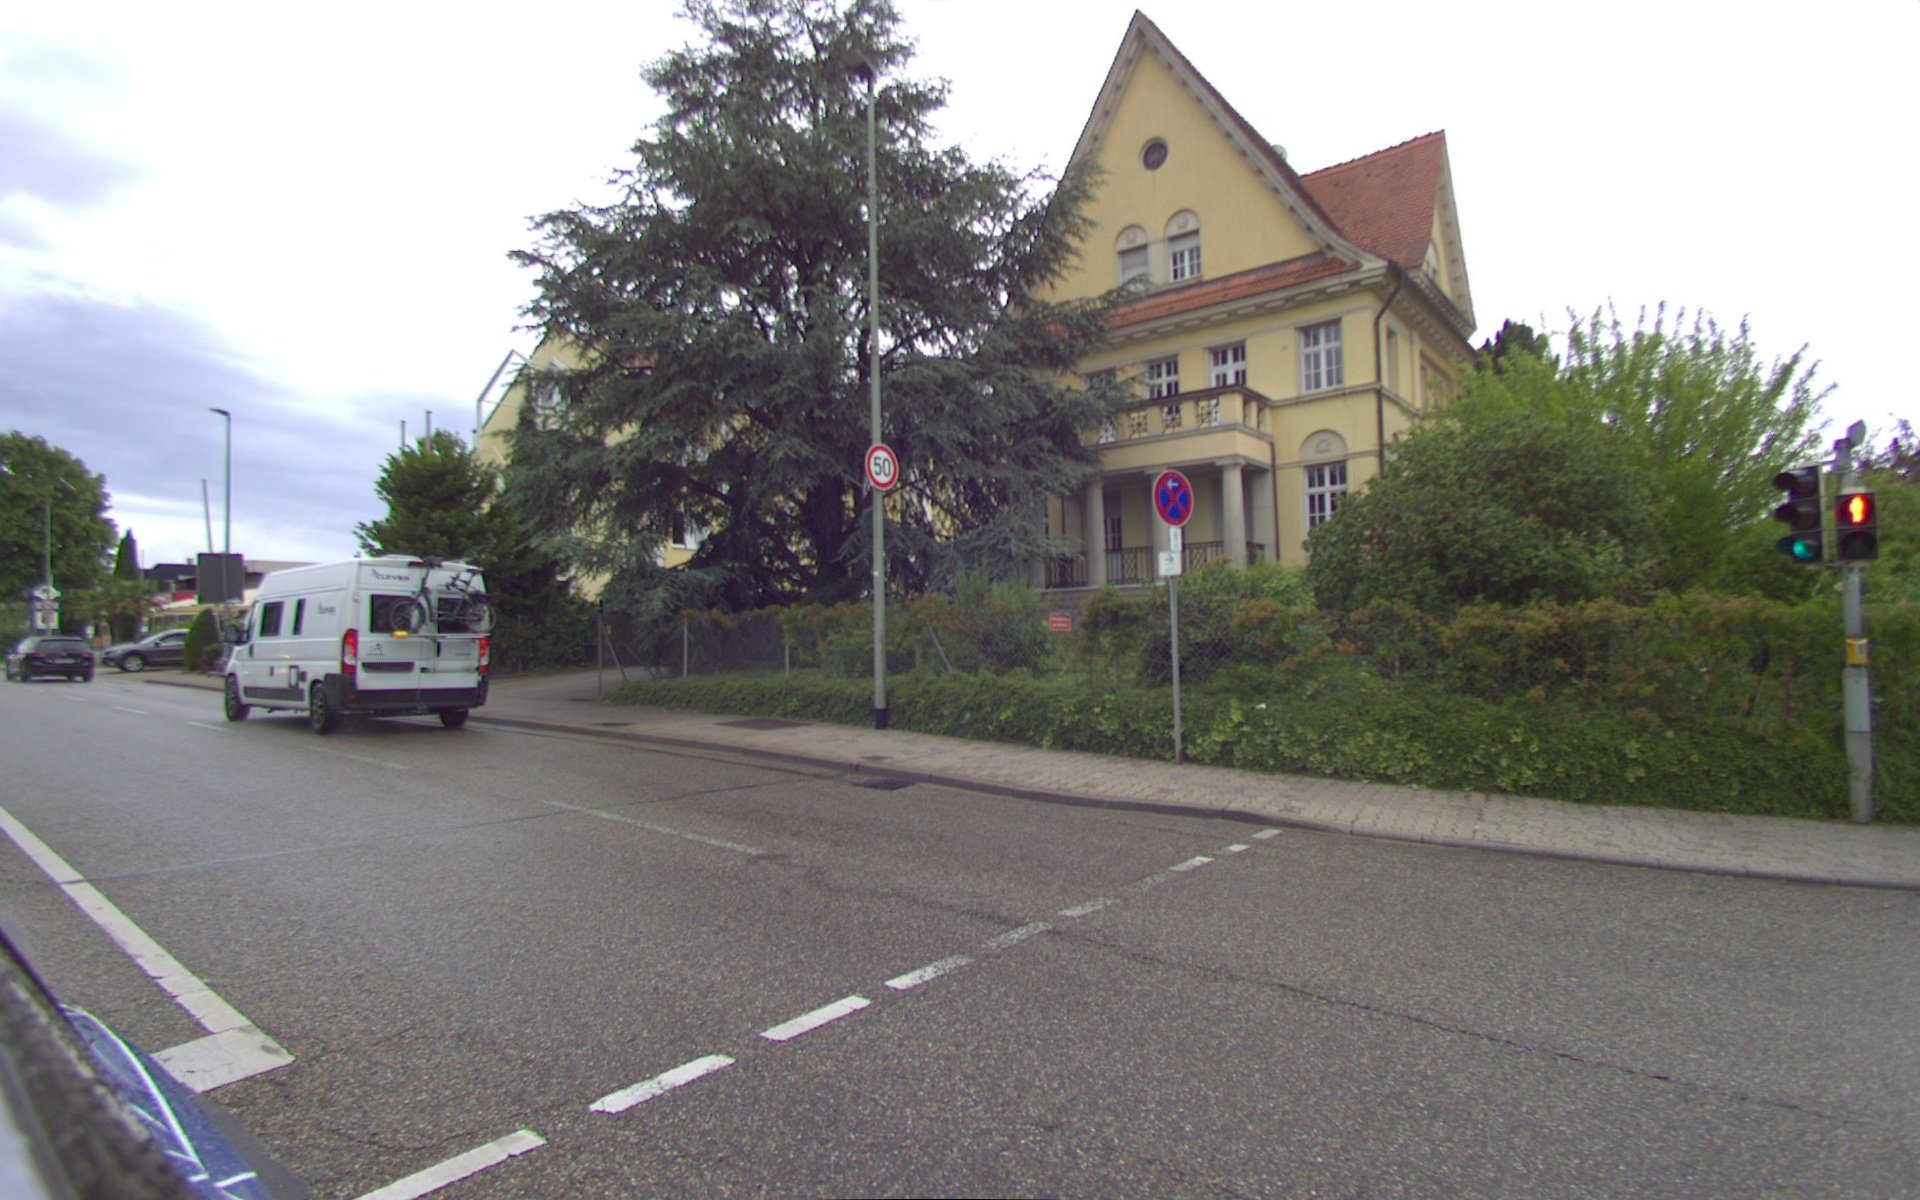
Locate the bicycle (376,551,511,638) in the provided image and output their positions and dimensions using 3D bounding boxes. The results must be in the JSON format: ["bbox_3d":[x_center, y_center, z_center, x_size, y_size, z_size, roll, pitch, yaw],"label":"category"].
[{"bbox_3d":[-7.231,-0.039,14.245,0.467,1.134,1.620,-2,-4,39],"label":"bicycle"}]

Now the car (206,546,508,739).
[{"bbox_3d":[-9.725,0.694,16.100,5.768,2.547,2.274,-2,-4,40],"label":"car"}]

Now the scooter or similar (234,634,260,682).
[{"bbox_3d":[-21.860,1.742,31.013,0.498,1.416,1.884,1,-2,-39],"label":"scooter or similar"}]

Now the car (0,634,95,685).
[{"bbox_3d":[-29.953,1.892,33.126,4.468,1.513,1.758,-1,-2,40],"label":"car"}]

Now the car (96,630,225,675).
[{"bbox_3d":[-31.908,2.059,40.456,3.876,1.664,1.720,1,-2,-44],"label":"car"}]
